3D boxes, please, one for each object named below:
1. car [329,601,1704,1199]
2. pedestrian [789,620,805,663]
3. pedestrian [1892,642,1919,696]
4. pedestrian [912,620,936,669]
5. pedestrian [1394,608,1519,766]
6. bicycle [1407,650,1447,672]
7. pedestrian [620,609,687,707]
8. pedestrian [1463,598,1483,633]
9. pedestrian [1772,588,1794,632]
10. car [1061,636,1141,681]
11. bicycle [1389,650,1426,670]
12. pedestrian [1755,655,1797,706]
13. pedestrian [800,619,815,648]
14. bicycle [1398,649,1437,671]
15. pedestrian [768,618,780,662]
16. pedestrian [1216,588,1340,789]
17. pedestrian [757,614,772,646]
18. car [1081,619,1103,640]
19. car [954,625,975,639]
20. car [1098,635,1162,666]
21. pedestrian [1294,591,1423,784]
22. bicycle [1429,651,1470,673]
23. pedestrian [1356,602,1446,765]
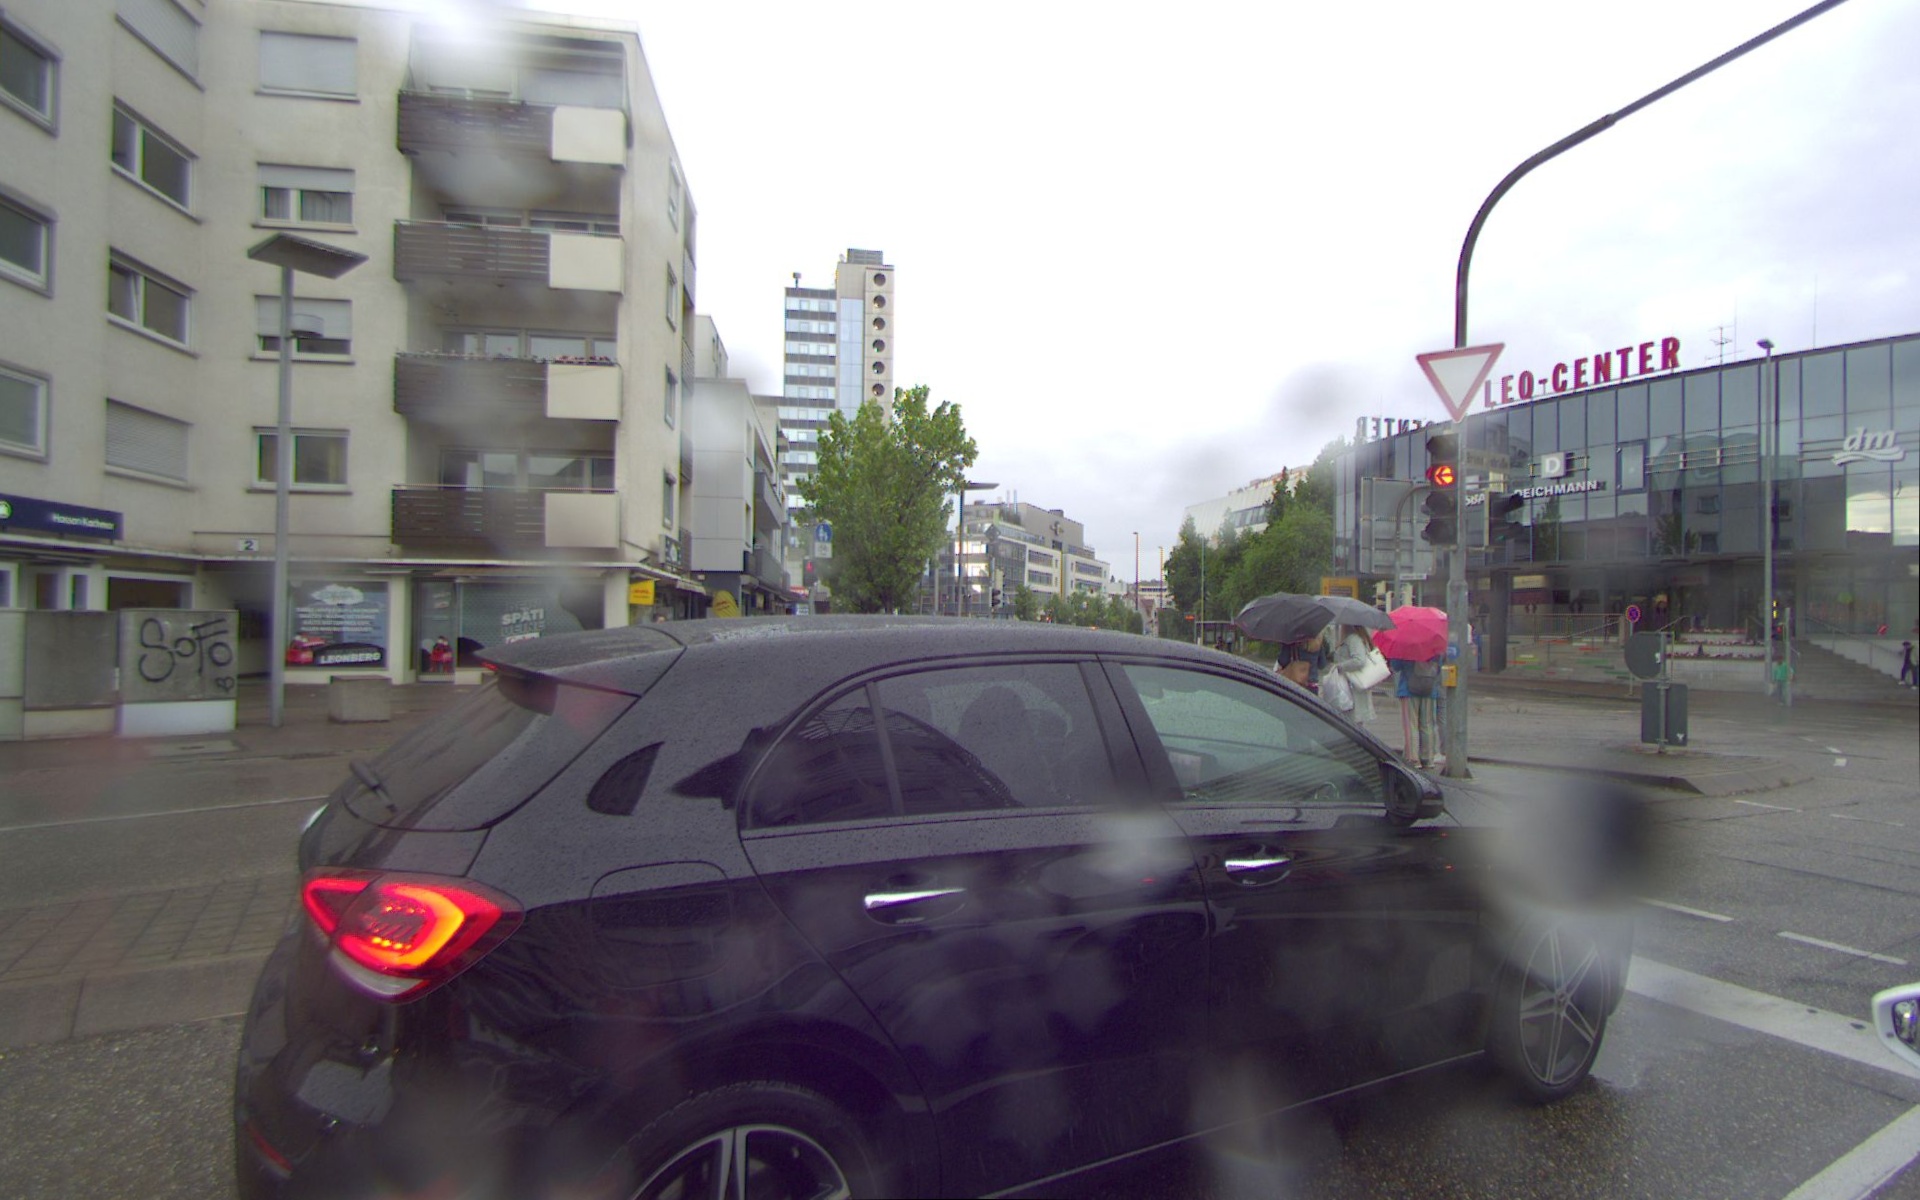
[{"bbox_3d":[0.439,0.788,3.144,4.048,1.501,1.654,1,1,-32],"label":"car"},{"bbox_3d":[-6.890,1.764,42.491,0.557,1.817,0.491,1,-2,-4],"label":"pedestrian"},{"bbox_3d":[34.578,2.517,36.698,0.589,1.933,0.651,2,-1,-37],"label":"pedestrian"},{"bbox_3d":[-1.246,1.549,35.016,0.799,1.677,0.714,1,-2,-3],"label":"pedestrian"},{"bbox_3d":[5.651,0.961,11.445,0.906,1.699,0.931,2,-2,-30],"label":"pedestrian"},{"bbox_3d":[24.239,3.157,52.152,1.822,1.056,0.646,-1,-1,-12],"label":"bicycle"},{"bbox_3d":[-5.174,0.974,16.964,0.904,1.606,0.651,2,-2,-33],"label":"pedestrian"},{"bbox_3d":[26.269,0.798,51.482,0.642,1.736,0.599,2,0,-6],"label":"pedestrian"},{"bbox_3d":[34.450,0.425,42.043,0.625,1.831,0.501,2,0,43],"label":"pedestrian"},{"bbox_3d":[4.945,2.030,35.834,2.082,1.432,5.147,2,-2,0],"label":"car"},{"bbox_3d":[23.858,3.186,53.560,1.821,0.964,0.535,-1,0,-8],"label":"bicycle"},{"bbox_3d":[27.162,2.652,33.457,0.802,1.644,0.941,2,-2,-39],"label":"pedestrian"},{"bbox_3d":[-9.779,2.166,64.410,0.859,1.835,0.923,1,-1,-10],"label":"pedestrian"},{"bbox_3d":[24.087,3.161,52.895,1.822,1.047,0.628,-1,-1,-12],"label":"bicycle"},{"bbox_3d":[-7.585,1.628,40.992,0.441,1.746,0.499,1,-2,-12],"label":"pedestrian"},{"bbox_3d":[2.987,0.795,9.408,0.937,1.759,0.835,0,-2,30],"label":"pedestrian"},{"bbox_3d":[-12.490,1.909,64.084,0.859,2.040,0.923,1,-1,-10],"label":"pedestrian"},{"bbox_3d":[12.592,2.834,96.239,2.008,1.921,4.141,1,-1,6],"label":"car"},{"bbox_3d":[0.433,3.296,102.341,1.414,1.314,3.770,2,-1,-10],"label":"car"},{"bbox_3d":[8.675,2.559,51.450,1.717,1.460,3.980,1,-1,-15],"label":"car"},{"bbox_3d":[3.872,0.823,9.862,0.843,1.767,1.139,1,-2,3],"label":"pedestrian"},{"bbox_3d":[24.636,3.120,50.527,1.822,1.036,0.631,-1,-2,-12],"label":"bicycle"},{"bbox_3d":[4.807,0.889,10.989,0.790,1.707,0.674,1,-2,14],"label":"pedestrian"}]
